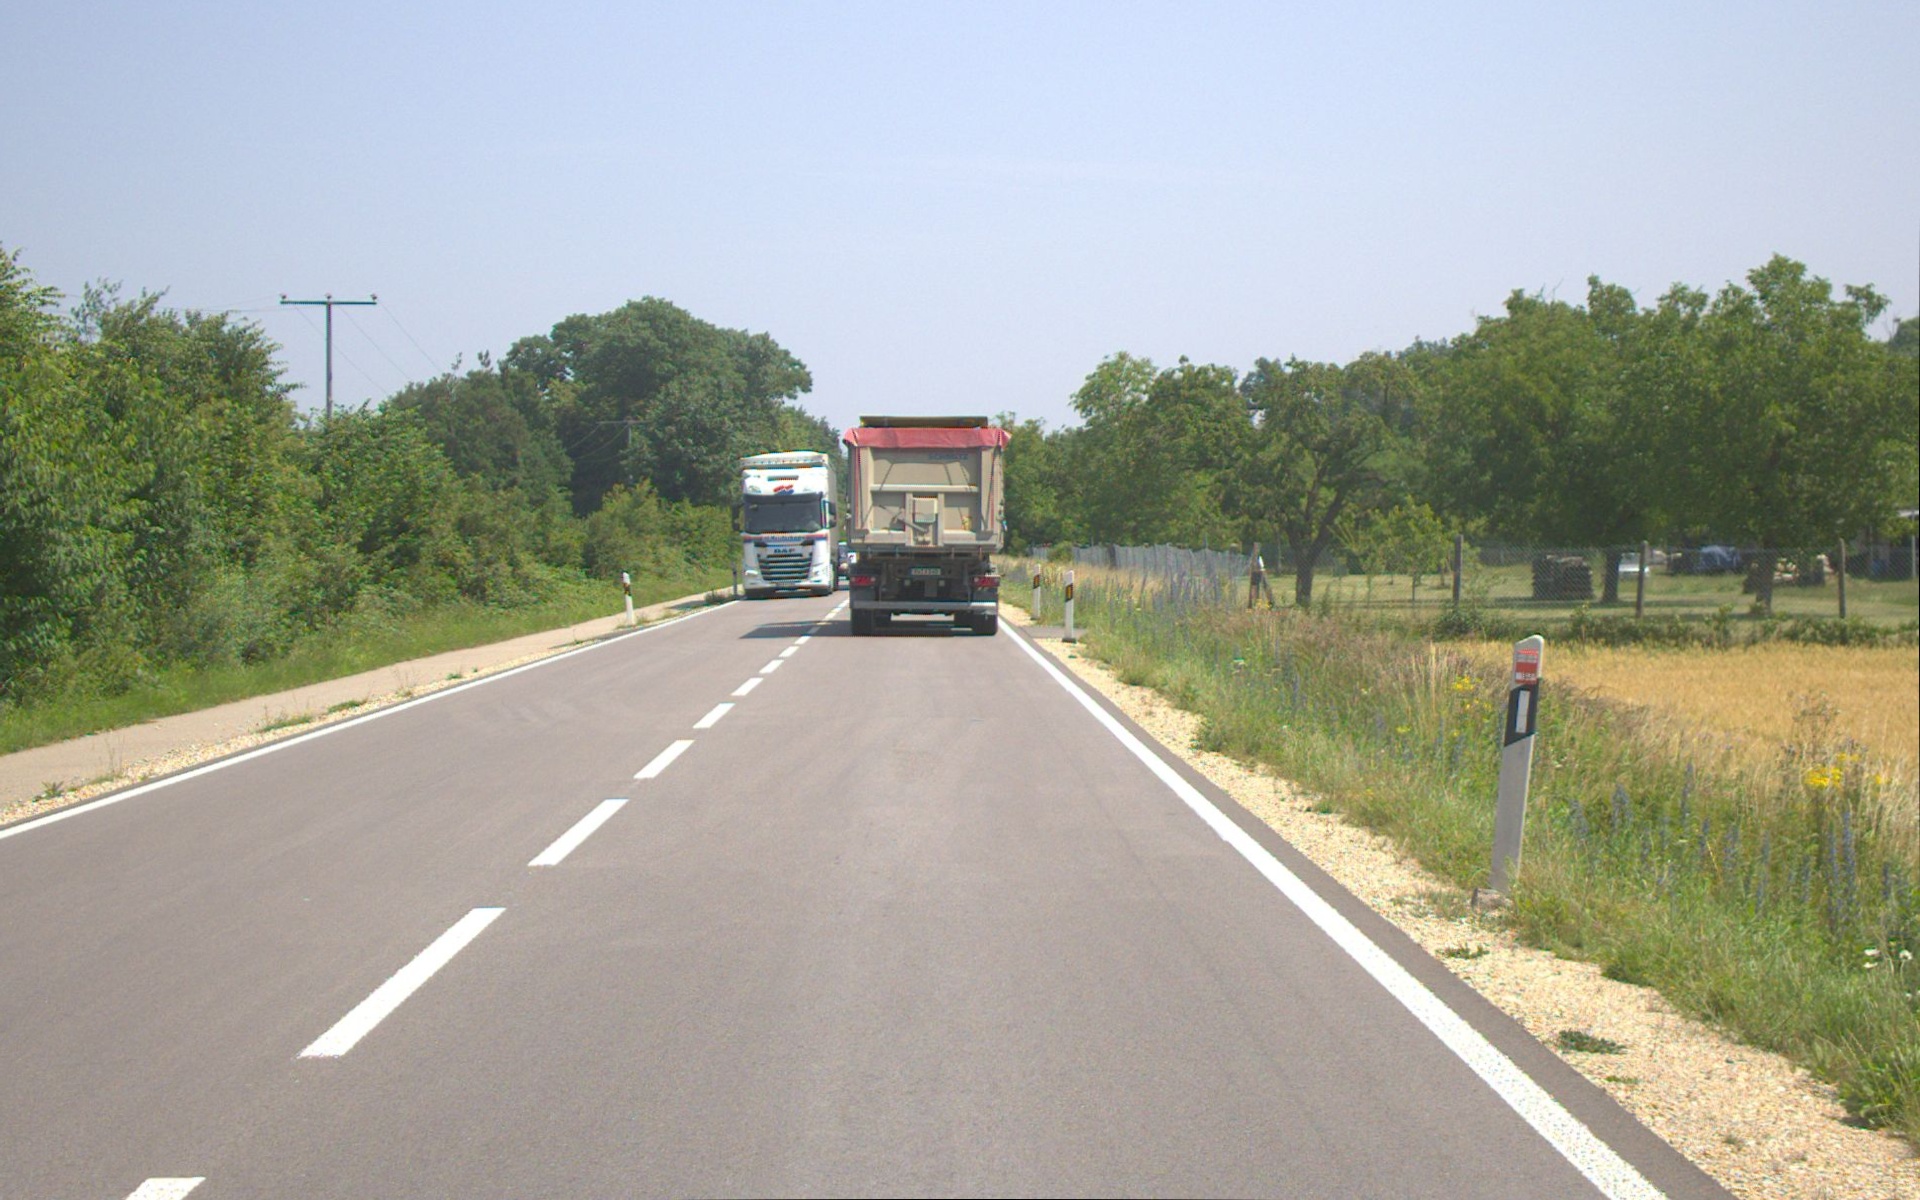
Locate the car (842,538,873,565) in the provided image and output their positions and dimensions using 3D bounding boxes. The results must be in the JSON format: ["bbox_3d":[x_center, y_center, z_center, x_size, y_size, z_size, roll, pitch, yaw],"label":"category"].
[{"bbox_3d":[-6.183,-2.937,207.140,1.758,1.535,4.046,-3,1,-1],"label":"car"}]

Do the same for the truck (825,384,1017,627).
[{"bbox_3d":[-0.719,-1.600,61.454,3.009,3.861,12.210,1,1,-1],"label":"truck"}]

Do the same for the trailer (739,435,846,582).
[{"bbox_3d":[-5.201,-2.854,109.183,2.717,4.251,13.811,-2,1,-1],"label":"trailer"}]

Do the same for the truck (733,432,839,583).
[{"bbox_3d":[-5.146,-2.742,103.057,2.717,4.251,7.390,-2,1,-1],"label":"truck"}]

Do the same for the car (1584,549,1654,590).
[{"bbox_3d":[25.496,-1.192,133.059,1.592,1.481,3.429,-1,2,-8],"label":"car"}]
